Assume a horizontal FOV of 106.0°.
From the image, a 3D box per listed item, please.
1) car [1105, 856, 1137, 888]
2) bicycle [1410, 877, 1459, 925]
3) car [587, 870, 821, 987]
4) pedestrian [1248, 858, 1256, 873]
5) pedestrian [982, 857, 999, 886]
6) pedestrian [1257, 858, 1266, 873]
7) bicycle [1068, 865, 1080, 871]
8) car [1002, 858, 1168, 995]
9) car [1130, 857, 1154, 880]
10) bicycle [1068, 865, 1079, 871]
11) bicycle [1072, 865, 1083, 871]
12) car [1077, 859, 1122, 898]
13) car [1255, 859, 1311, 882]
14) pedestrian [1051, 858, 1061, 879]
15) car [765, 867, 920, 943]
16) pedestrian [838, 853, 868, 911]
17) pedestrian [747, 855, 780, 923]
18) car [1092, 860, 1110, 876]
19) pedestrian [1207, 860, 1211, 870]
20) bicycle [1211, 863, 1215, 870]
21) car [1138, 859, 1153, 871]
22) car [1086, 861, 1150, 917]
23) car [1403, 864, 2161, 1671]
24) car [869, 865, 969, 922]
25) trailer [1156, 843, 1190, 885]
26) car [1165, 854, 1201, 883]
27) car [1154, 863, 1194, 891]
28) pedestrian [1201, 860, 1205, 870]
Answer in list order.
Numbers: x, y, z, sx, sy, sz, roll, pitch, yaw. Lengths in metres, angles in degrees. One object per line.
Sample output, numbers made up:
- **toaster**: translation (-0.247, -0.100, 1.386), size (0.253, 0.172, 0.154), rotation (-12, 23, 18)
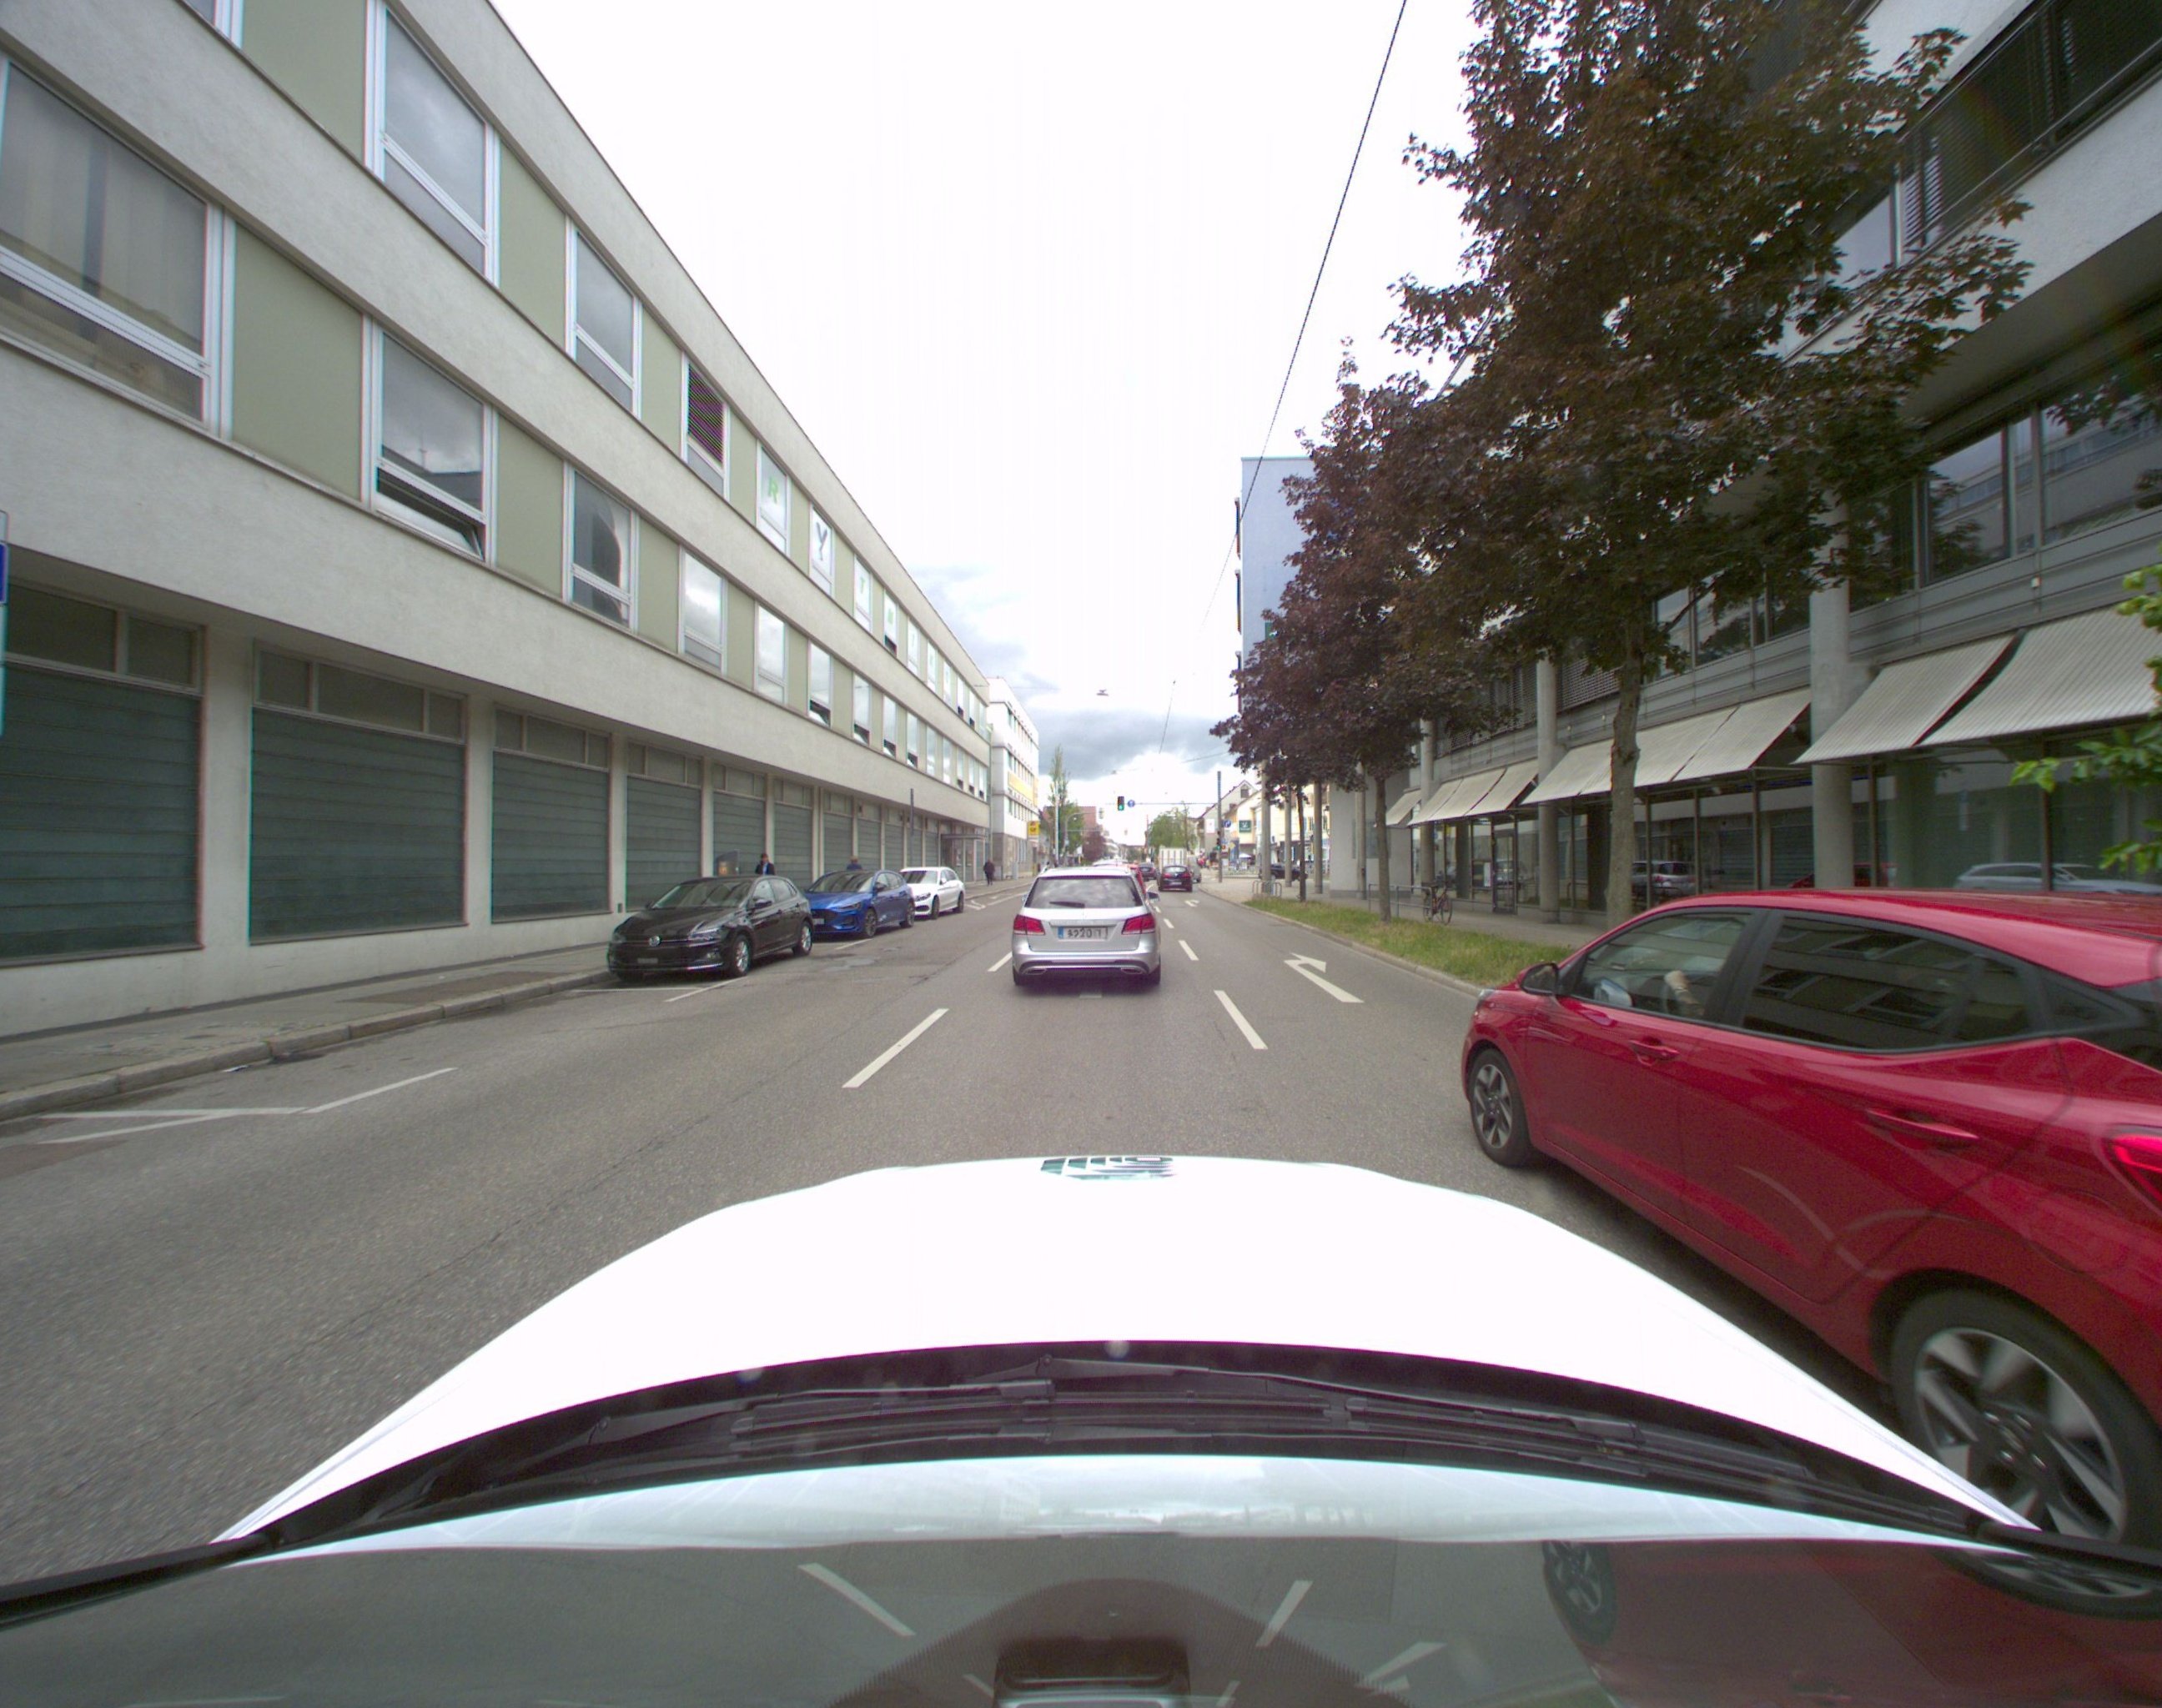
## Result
- **car**: translation (2.277, 1.046, 47.445), size (1.728, 1.759, 4.001), rotation (-1, -1, 1)
- **bicycle**: translation (8.694, 1.141, 20.089), size (0.359, 1.086, 2.028), rotation (1, -1, 1)
- **car**: translation (-5.556, 1.016, 12.589), size (1.710, 1.425, 3.871), rotation (-2, -1, 1)
- **pedestrian**: translation (19.861, 1.301, 94.684), size (0.708, 1.718, 0.642), rotation (0, -1, -40)
- **pedestrian**: translation (-5.539, 1.057, 49.889), size (0.858, 1.718, 1.032), rotation (1, -1, 1)
- **pedestrian**: translation (20.943, 1.288, 94.470), size (0.789, 1.718, 0.646), rotation (1, 0, -19)
- **bicycle**: translation (-1.245, 2.542, 145.587), size (1.935, 1.029, 0.529), rotation (1, -1, -7)
- **car**: translation (0.089, 0.828, 11.193), size (1.839, 1.508, 4.172), rotation (-1, -1, 1)
- **car**: translation (5.018, 1.172, 67.169), size (1.821, 1.785, 4.001), rotation (-1, -1, 2)
- **bicycle**: translation (-1.343, 2.550, 146.253), size (1.935, 1.029, 0.529), rotation (1, -1, -7)
- **bicycle**: translation (-0.707, 2.598, 149.553), size (1.935, 1.029, 0.529), rotation (1, -1, -7)
- **car**: translation (0.762, 0.970, 33.894), size (1.728, 1.508, 4.001), rotation (-1, -1, 1)
- **car**: translation (15.769, 1.264, 63.510), size (3.790, 1.670, 1.921), rotation (-1, -1, -13)
- **pedestrian**: translation (-2.033, 1.183, 66.277), size (0.643, 1.718, 0.785), rotation (1, -1, 10)
- **car**: translation (-5.168, 1.054, 18.314), size (1.806, 1.426, 4.271), rotation (-2, -1, 6)
- **pedestrian**: translation (-6.998, 0.847, 25.057), size (0.587, 1.718, 1.055), rotation (-1, -1, 1)
- **pedestrian**: translation (-8.216, 0.900, 21.100), size (0.587, 1.718, 0.650), rotation (-1, -1, 1)
- **car**: translation (2.159, 1.482, 86.766), size (1.768, 1.632, 4.772), rotation (-1, -1, 4)
- **pedestrian**: translation (19.916, 1.713, 126.877), size (0.577, 1.469, 0.650), rotation (1, -1, -4)
- **bicycle**: translation (19.967, 1.896, 123.137), size (0.446, 1.091, 2.151), rotation (-1, -1, 4)
- **car**: translation (8.337, 1.397, 105.041), size (1.728, 1.410, 4.001), rotation (-1, 0, 1)
- **car**: translation (1.033, 0.958, 23.975), size (1.728, 1.508, 4.000), rotation (0, -1, 1)
- **car**: translation (2.903, 0.802, 3.339), size (1.691, 1.452, 4.002), rotation (2, -1, 2)
- **car**: translation (-4.679, 1.099, 24.259), size (1.662, 1.434, 4.559), rotation (-2, -1, 5)
- **trailer**: translation (6.172, 0.677, 54.409), size (1.866, 2.613, 4.335), rotation (2, -1, 10)
- **car**: translation (7.436, 1.047, 58.889), size (1.864, 1.946, 4.925), rotation (2, -1, 14)
- **car**: translation (4.940, 1.190, 43.584), size (1.728, 1.410, 4.001), rotation (-1, 0, 1)
- **pedestrian**: translation (19.546, 1.783, 130.391), size (0.576, 1.666, 0.650), rotation (1, -1, -4)
